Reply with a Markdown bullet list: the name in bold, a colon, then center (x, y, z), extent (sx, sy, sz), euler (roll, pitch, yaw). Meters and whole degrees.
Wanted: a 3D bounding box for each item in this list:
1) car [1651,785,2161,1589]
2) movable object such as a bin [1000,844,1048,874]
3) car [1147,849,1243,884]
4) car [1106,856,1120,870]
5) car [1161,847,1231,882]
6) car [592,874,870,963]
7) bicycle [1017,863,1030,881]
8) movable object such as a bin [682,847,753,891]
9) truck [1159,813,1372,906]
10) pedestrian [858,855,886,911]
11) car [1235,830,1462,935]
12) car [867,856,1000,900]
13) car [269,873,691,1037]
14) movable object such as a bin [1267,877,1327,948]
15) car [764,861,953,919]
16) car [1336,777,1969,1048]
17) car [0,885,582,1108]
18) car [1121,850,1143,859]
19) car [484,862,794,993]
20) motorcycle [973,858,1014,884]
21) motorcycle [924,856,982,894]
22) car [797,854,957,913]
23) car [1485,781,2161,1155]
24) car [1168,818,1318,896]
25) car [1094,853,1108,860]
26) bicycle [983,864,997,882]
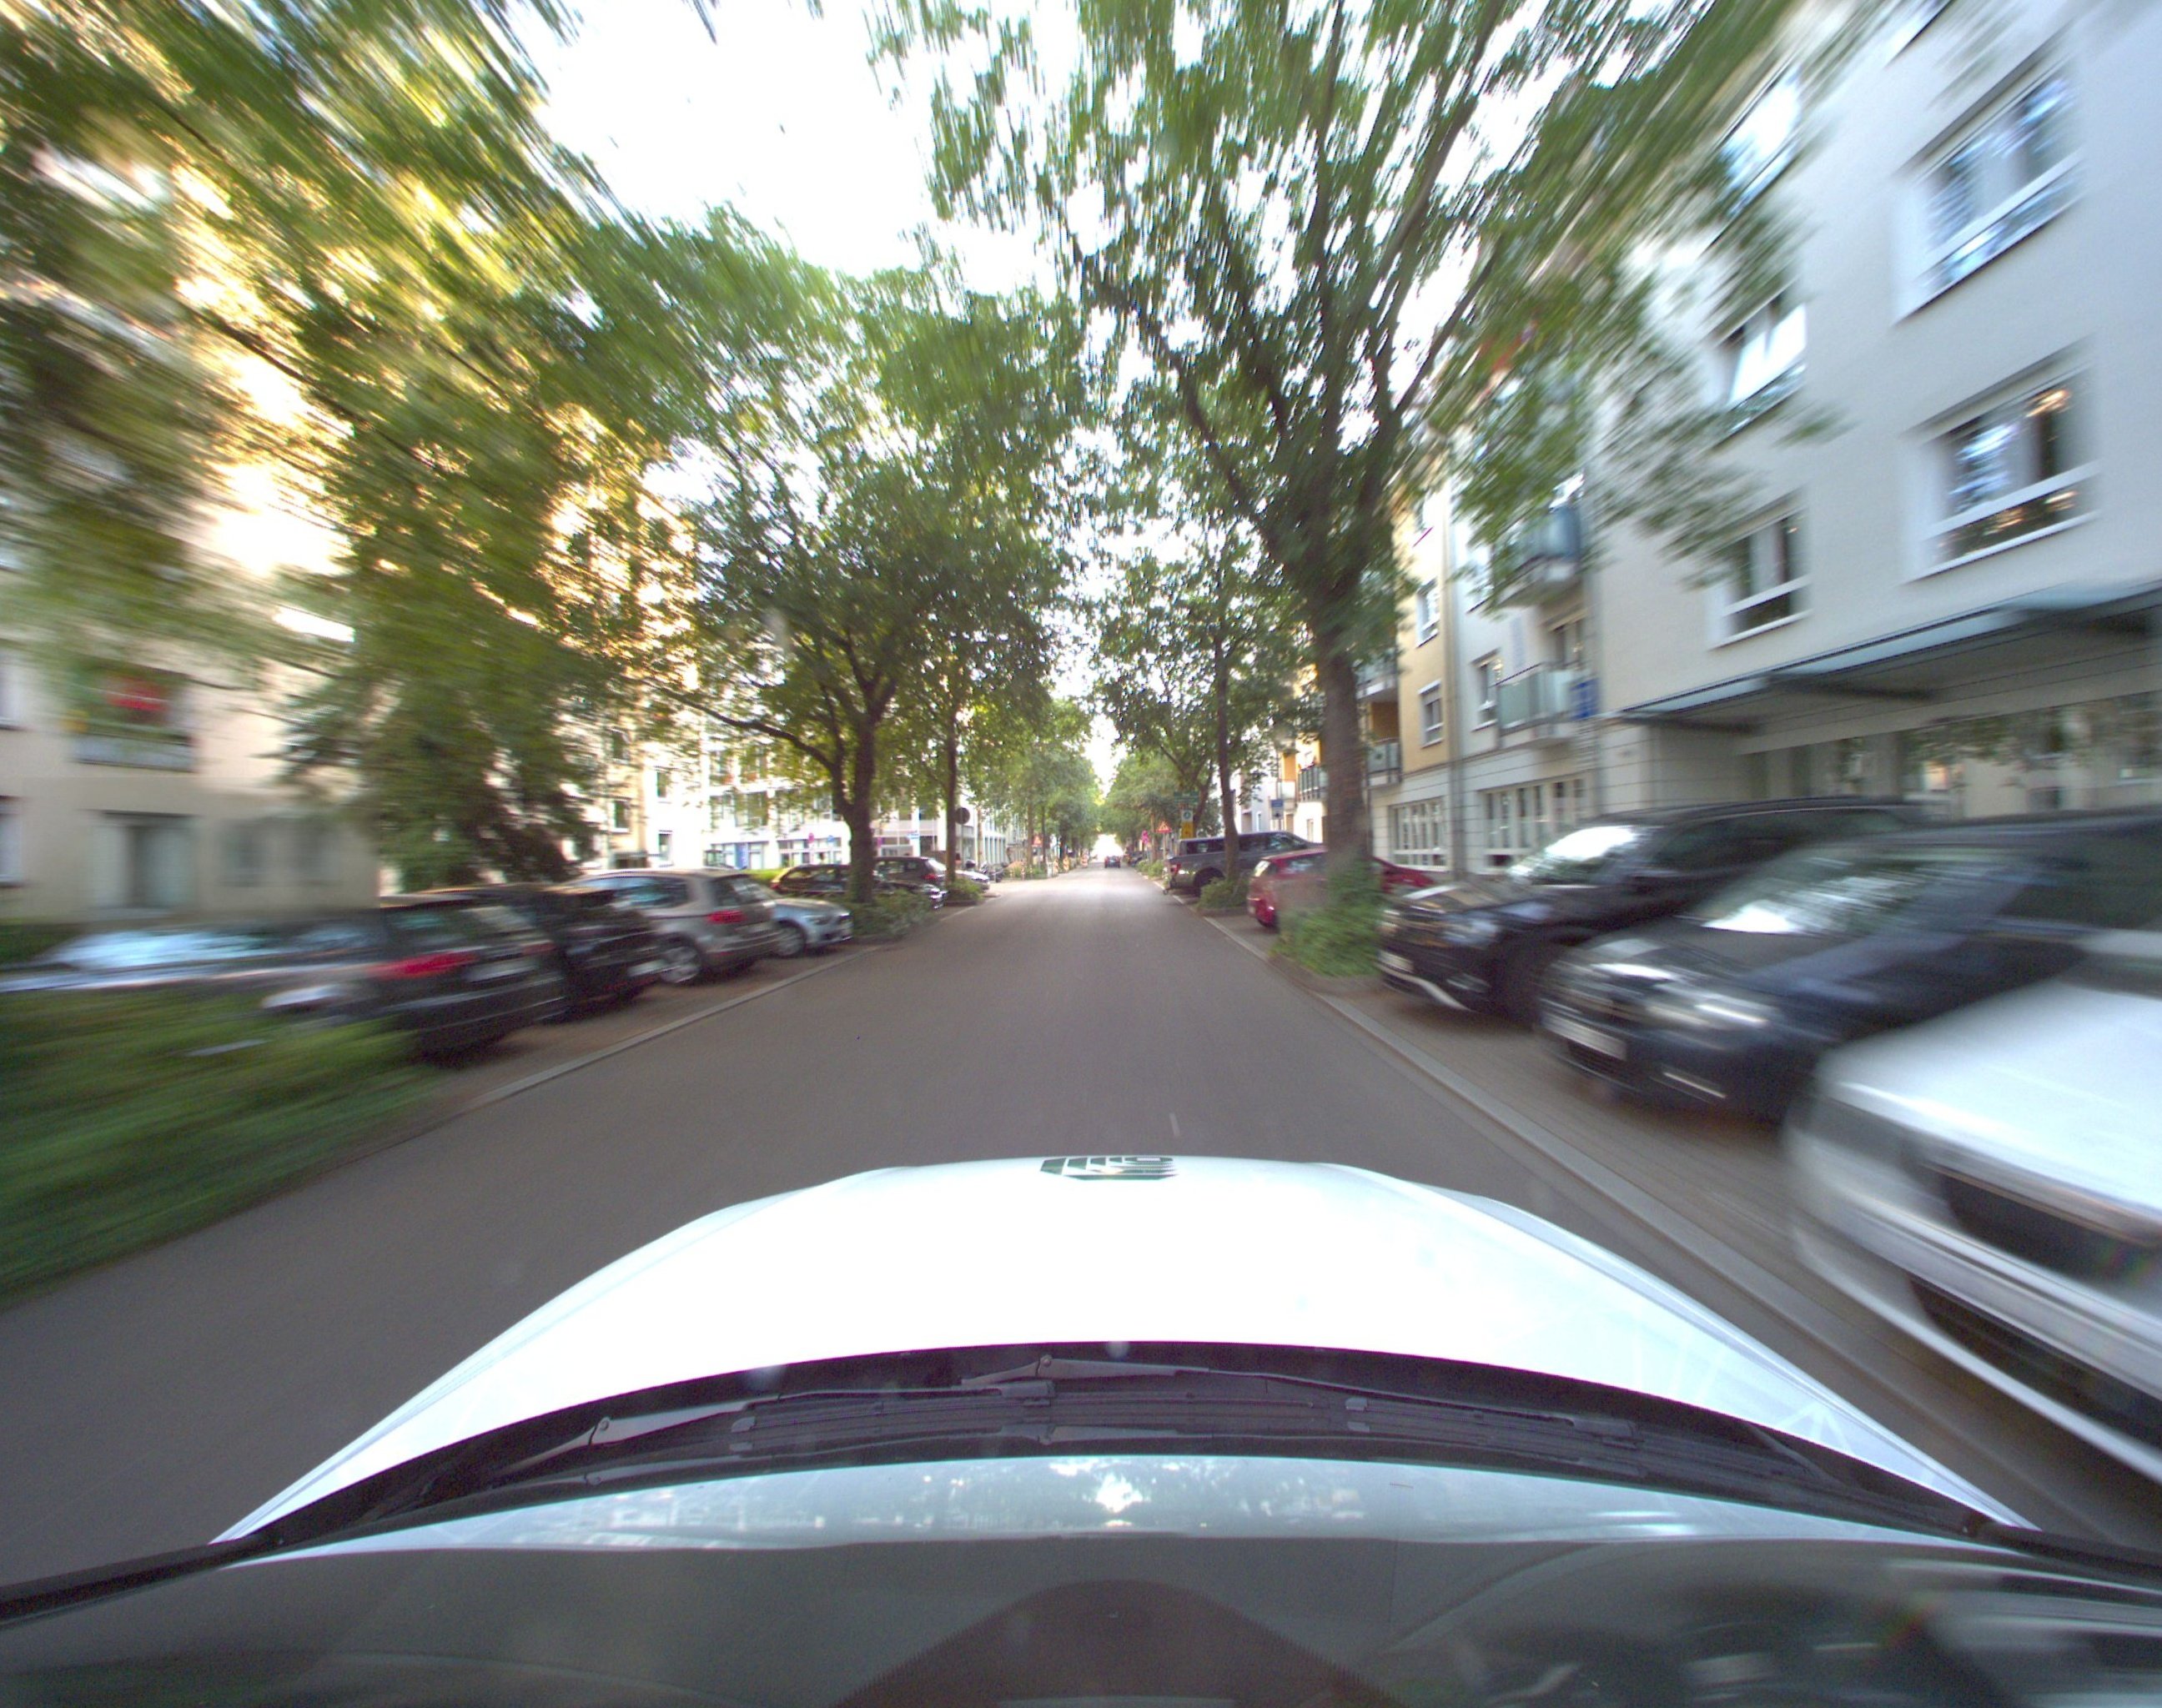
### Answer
- **car**: center (4.353, 0.490, 2.010), extent (4.556, 1.552, 1.773), euler (-5, 0, 1)
- **movable object such as a bin**: center (-4.726, 0.378, 67.955), extent (3.653, 2.333, 2.583), euler (-2, 0, 0)
- **car**: center (5.517, 0.602, 39.617), extent (4.279, 1.508, 1.866), euler (-2, 0, -10)
- **car**: center (3.492, 0.996, 89.805), extent (1.494, 1.416, 3.715), euler (-2, 0, 2)
- **car**: center (5.919, 0.520, 42.213), extent (3.337, 1.526, 1.747), euler (-4, 0, 2)
- **car**: center (-5.973, 1.083, 14.261), extent (4.087, 1.379, 1.746), euler (-1, 0, -1)
- **bicycle**: center (-3.763, 1.149, 53.273), extent (0.599, 1.118, 1.801), euler (-2, 0, 2)
- **movable object such as a bin**: center (-23.083, 0.973, 51.682), extent (4.059, 2.634, 1.813), euler (-2, 0, 26)
- **truck**: center (5.564, 0.168, 25.301), extent (5.982, 2.133, 2.262), euler (-6, 0, 1)
- **pedestrian**: center (-6.846, 0.928, 26.670), extent (0.702, 1.788, 0.523), euler (-2, 0, -38)
- **car**: center (5.002, 0.537, 15.607), extent (3.653, 1.548, 1.780), euler (-5, -2, -1)
- **car**: center (-5.392, 0.858, 30.190), extent (4.480, 1.581, 2.056), euler (0, -1, 2)
- **car**: center (-6.476, 1.037, 9.073), extent (3.394, 1.506, 1.664), euler (-2, 0, -1)
- **movable object such as a bin**: center (3.447, 0.919, 13.030), extent (0.772, 1.068, 0.589), euler (-2, 0, 1)
- **car**: center (-6.168, 0.986, 23.009), extent (4.701, 1.424, 2.071), euler (-1, 0, -1)
- **car**: center (4.809, 0.420, 7.236), extent (4.379, 1.703, 1.891), euler (-5, 0, -6)
- **car**: center (-6.317, 1.059, 6.681), extent (3.394, 1.442, 1.594), euler (-2, 0, -1)
- **car**: center (9.835, 0.028, 156.184), extent (3.976, 1.597, 1.999), euler (-2, 0, -2)
- **car**: center (-6.140, 0.977, 11.631), extent (3.394, 1.609, 1.760), euler (-2, 0, -1)
- **motorcycle**: center (-5.360, 1.029, 49.955), extent (2.391, 1.440, 0.792), euler (-2, 0, -38)
- **motorcycle**: center (-5.306, 0.854, 33.804), extent (2.207, 1.494, 0.692), euler (-2, 0, 3)
- **car**: center (-6.190, 0.872, 25.123), extent (4.382, 1.684, 2.064), euler (0, 0, -1)
- **car**: center (4.729, 0.477, 4.569), extent (3.970, 1.525, 1.728), euler (-5, 0, 3)
- **car**: center (5.441, 0.103, 27.869), extent (4.603, 2.133, 2.037), euler (-6, 0, 1)
- **car**: center (5.911, 0.837, 241.774), extent (3.982, 1.914, 1.774), euler (-2, 0, -6)
- **bicycle**: center (-5.905, 1.215, 53.187), extent (0.599, 1.118, 1.801), euler (-2, 0, 2)
